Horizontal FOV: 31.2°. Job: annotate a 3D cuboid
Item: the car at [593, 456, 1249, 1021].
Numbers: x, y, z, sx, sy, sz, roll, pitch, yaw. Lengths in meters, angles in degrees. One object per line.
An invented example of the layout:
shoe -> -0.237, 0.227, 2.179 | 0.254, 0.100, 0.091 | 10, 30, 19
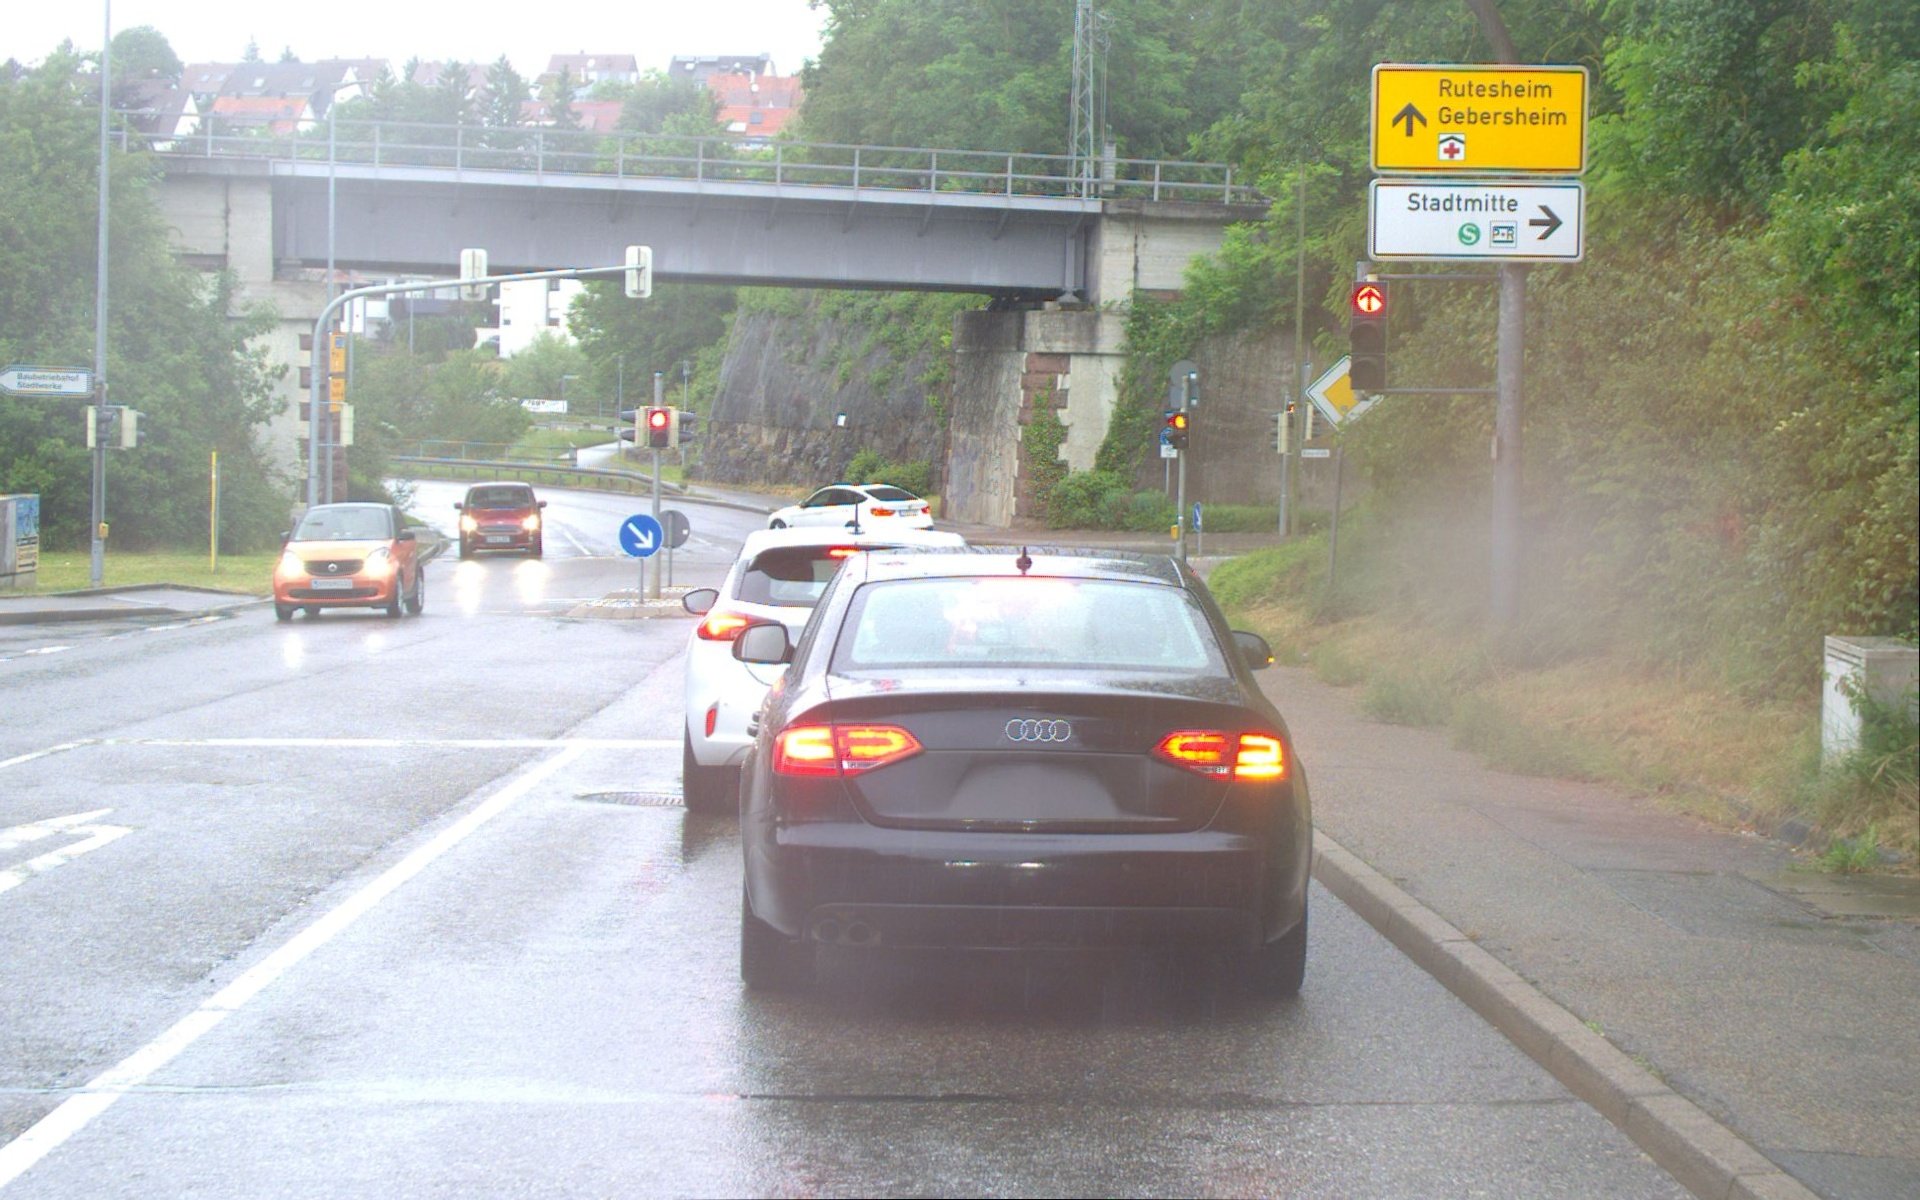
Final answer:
car -> -0.142, 0.348, 11.846 | 1.870, 1.611, 4.000 | 0, 1, -1

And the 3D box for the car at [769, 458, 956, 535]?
car -> -2.325, -2.414, 81.143 | 4.477, 1.736, 1.806 | 1, 1, 44

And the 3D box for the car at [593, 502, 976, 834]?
car -> -0.871, 0.308, 18.474 | 1.823, 1.579, 4.000 | 0, 0, -1

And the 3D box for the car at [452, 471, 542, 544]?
car -> -10.653, -2.139, 79.224 | 1.993, 1.622, 4.001 | -1, 2, -7

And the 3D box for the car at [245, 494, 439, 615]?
car -> -8.433, -0.616, 47.200 | 1.993, 1.579, 4.000 | 0, 0, -1
